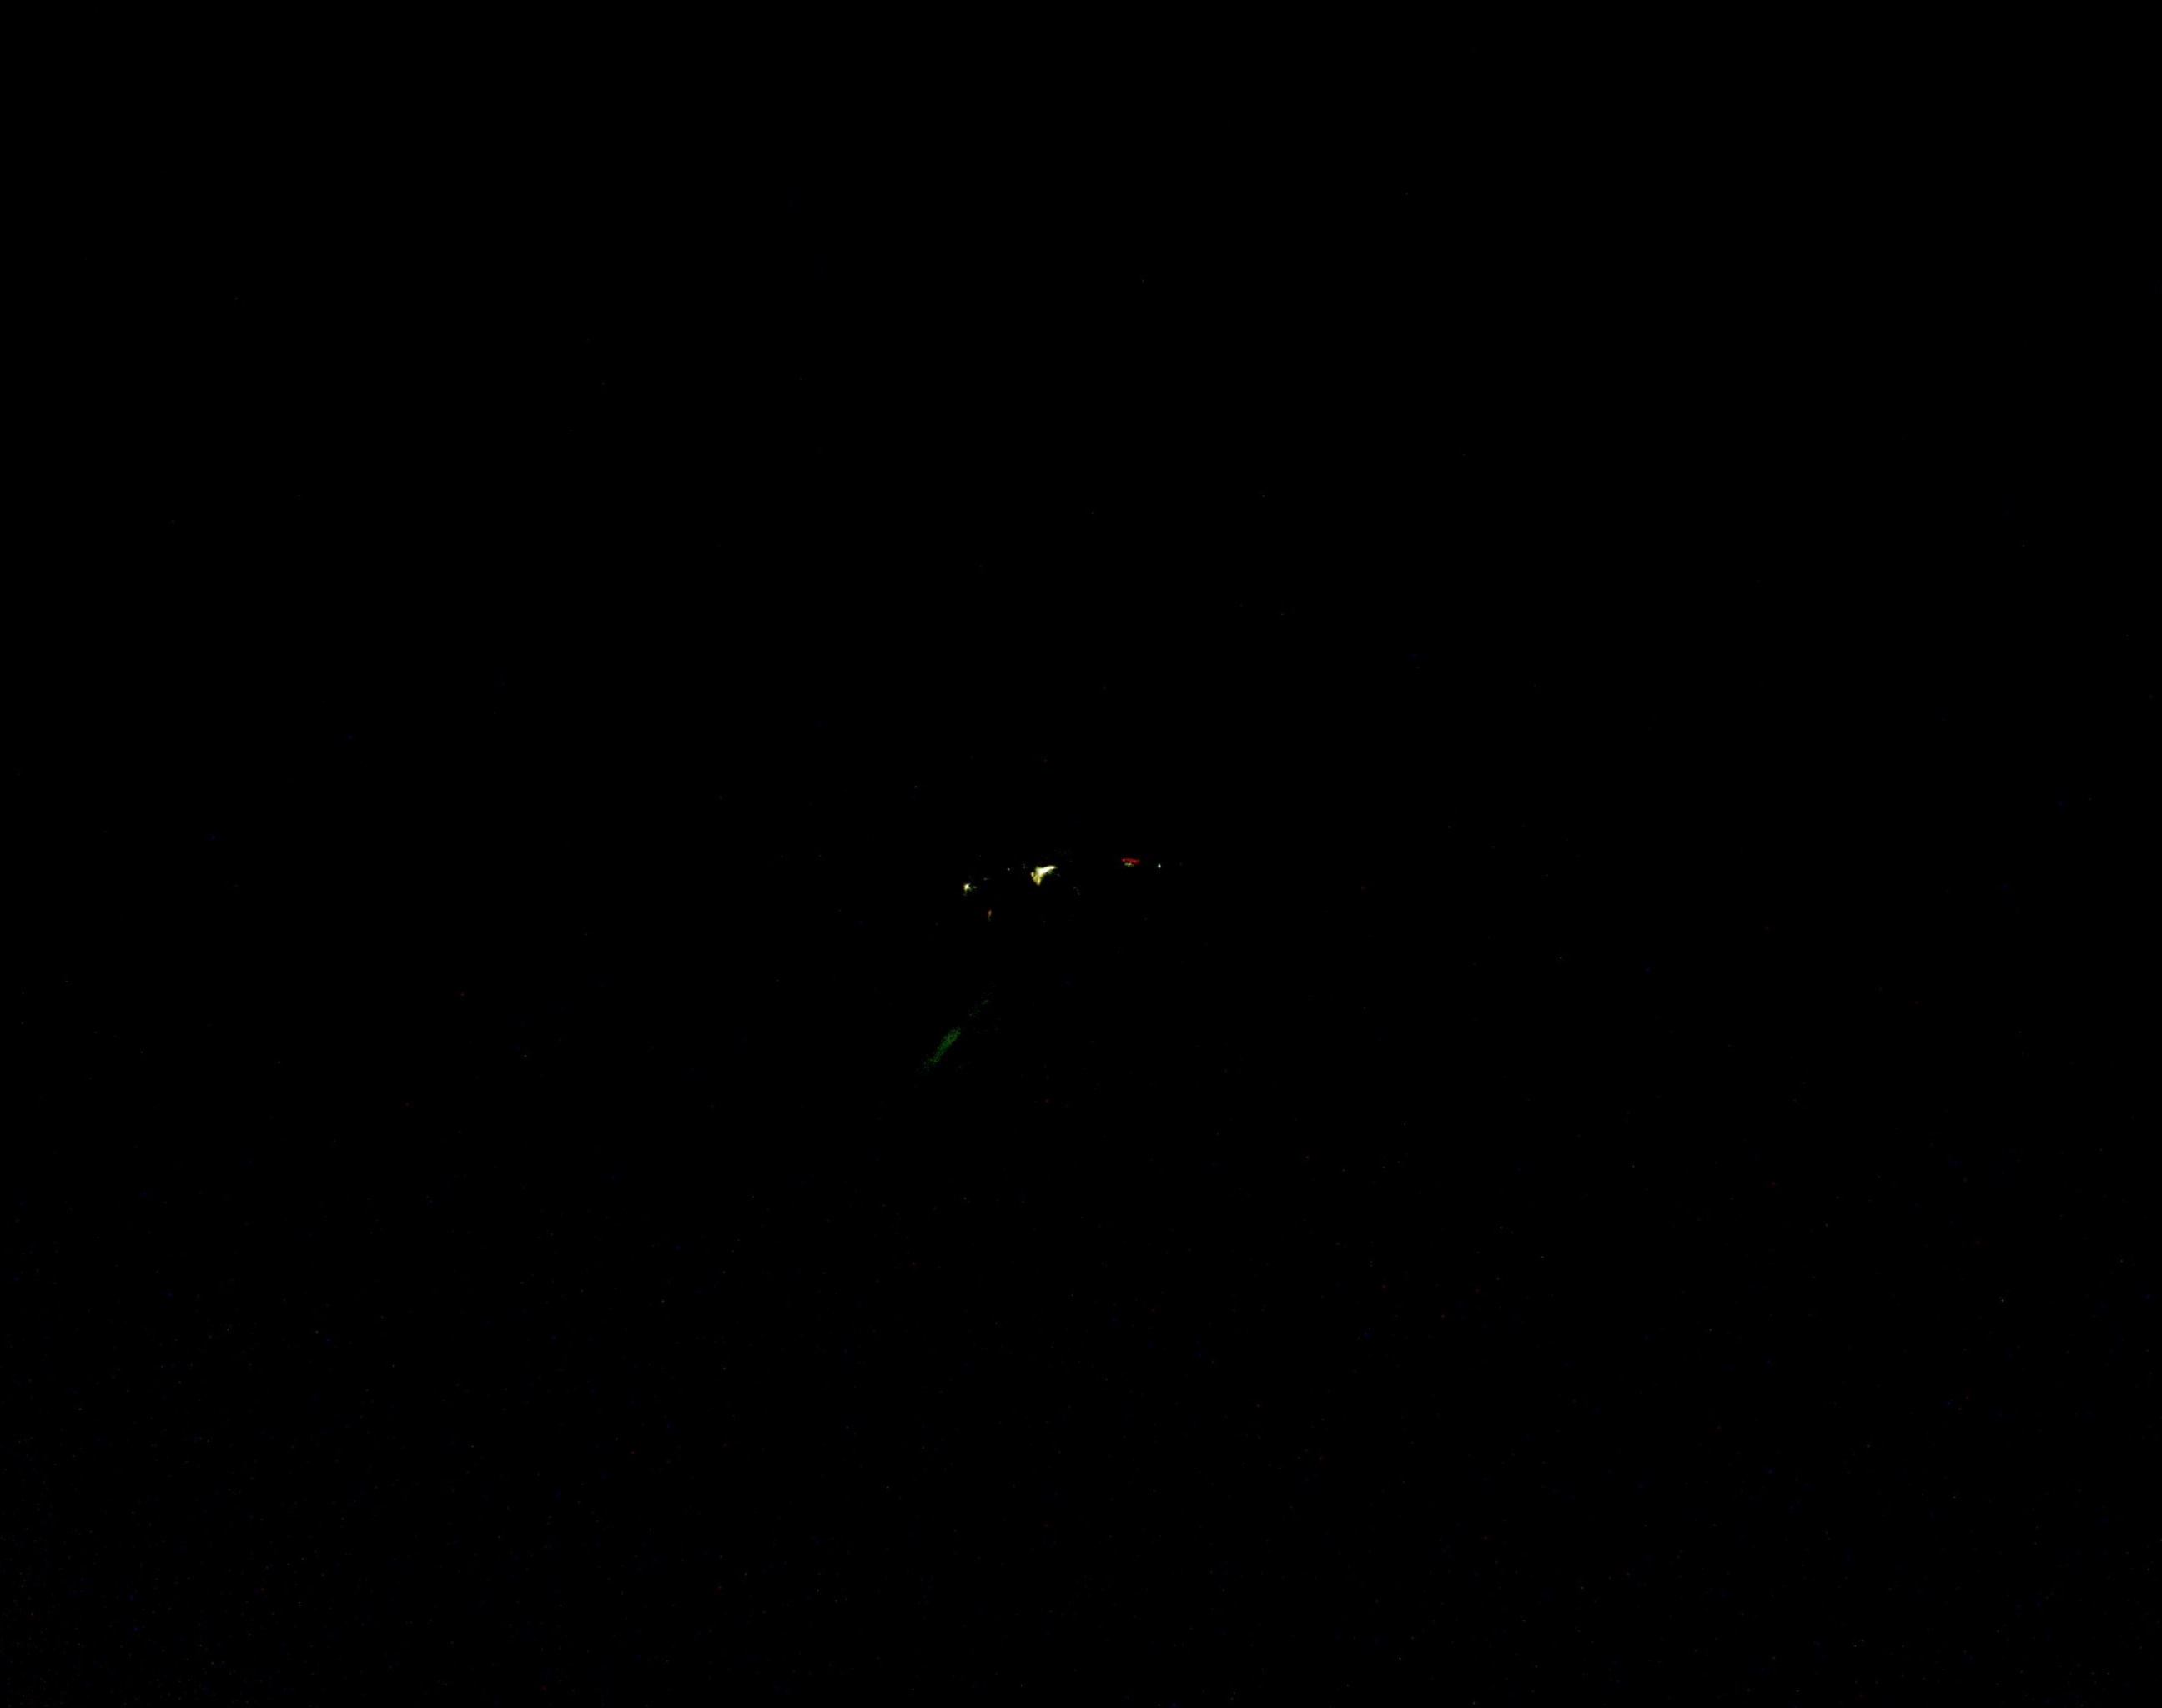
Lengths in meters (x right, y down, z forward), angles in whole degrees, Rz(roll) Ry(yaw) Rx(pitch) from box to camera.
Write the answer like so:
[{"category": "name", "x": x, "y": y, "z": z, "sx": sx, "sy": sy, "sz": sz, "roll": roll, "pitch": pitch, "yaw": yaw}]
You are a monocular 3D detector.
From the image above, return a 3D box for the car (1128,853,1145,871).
[{"category": "car", "x": 7.065, "y": 1.038, "z": 103.859, "sx": 2.187, "sy": 2.014, "sz": 4.210, "roll": 0, "pitch": -3, "yaw": 3}]
